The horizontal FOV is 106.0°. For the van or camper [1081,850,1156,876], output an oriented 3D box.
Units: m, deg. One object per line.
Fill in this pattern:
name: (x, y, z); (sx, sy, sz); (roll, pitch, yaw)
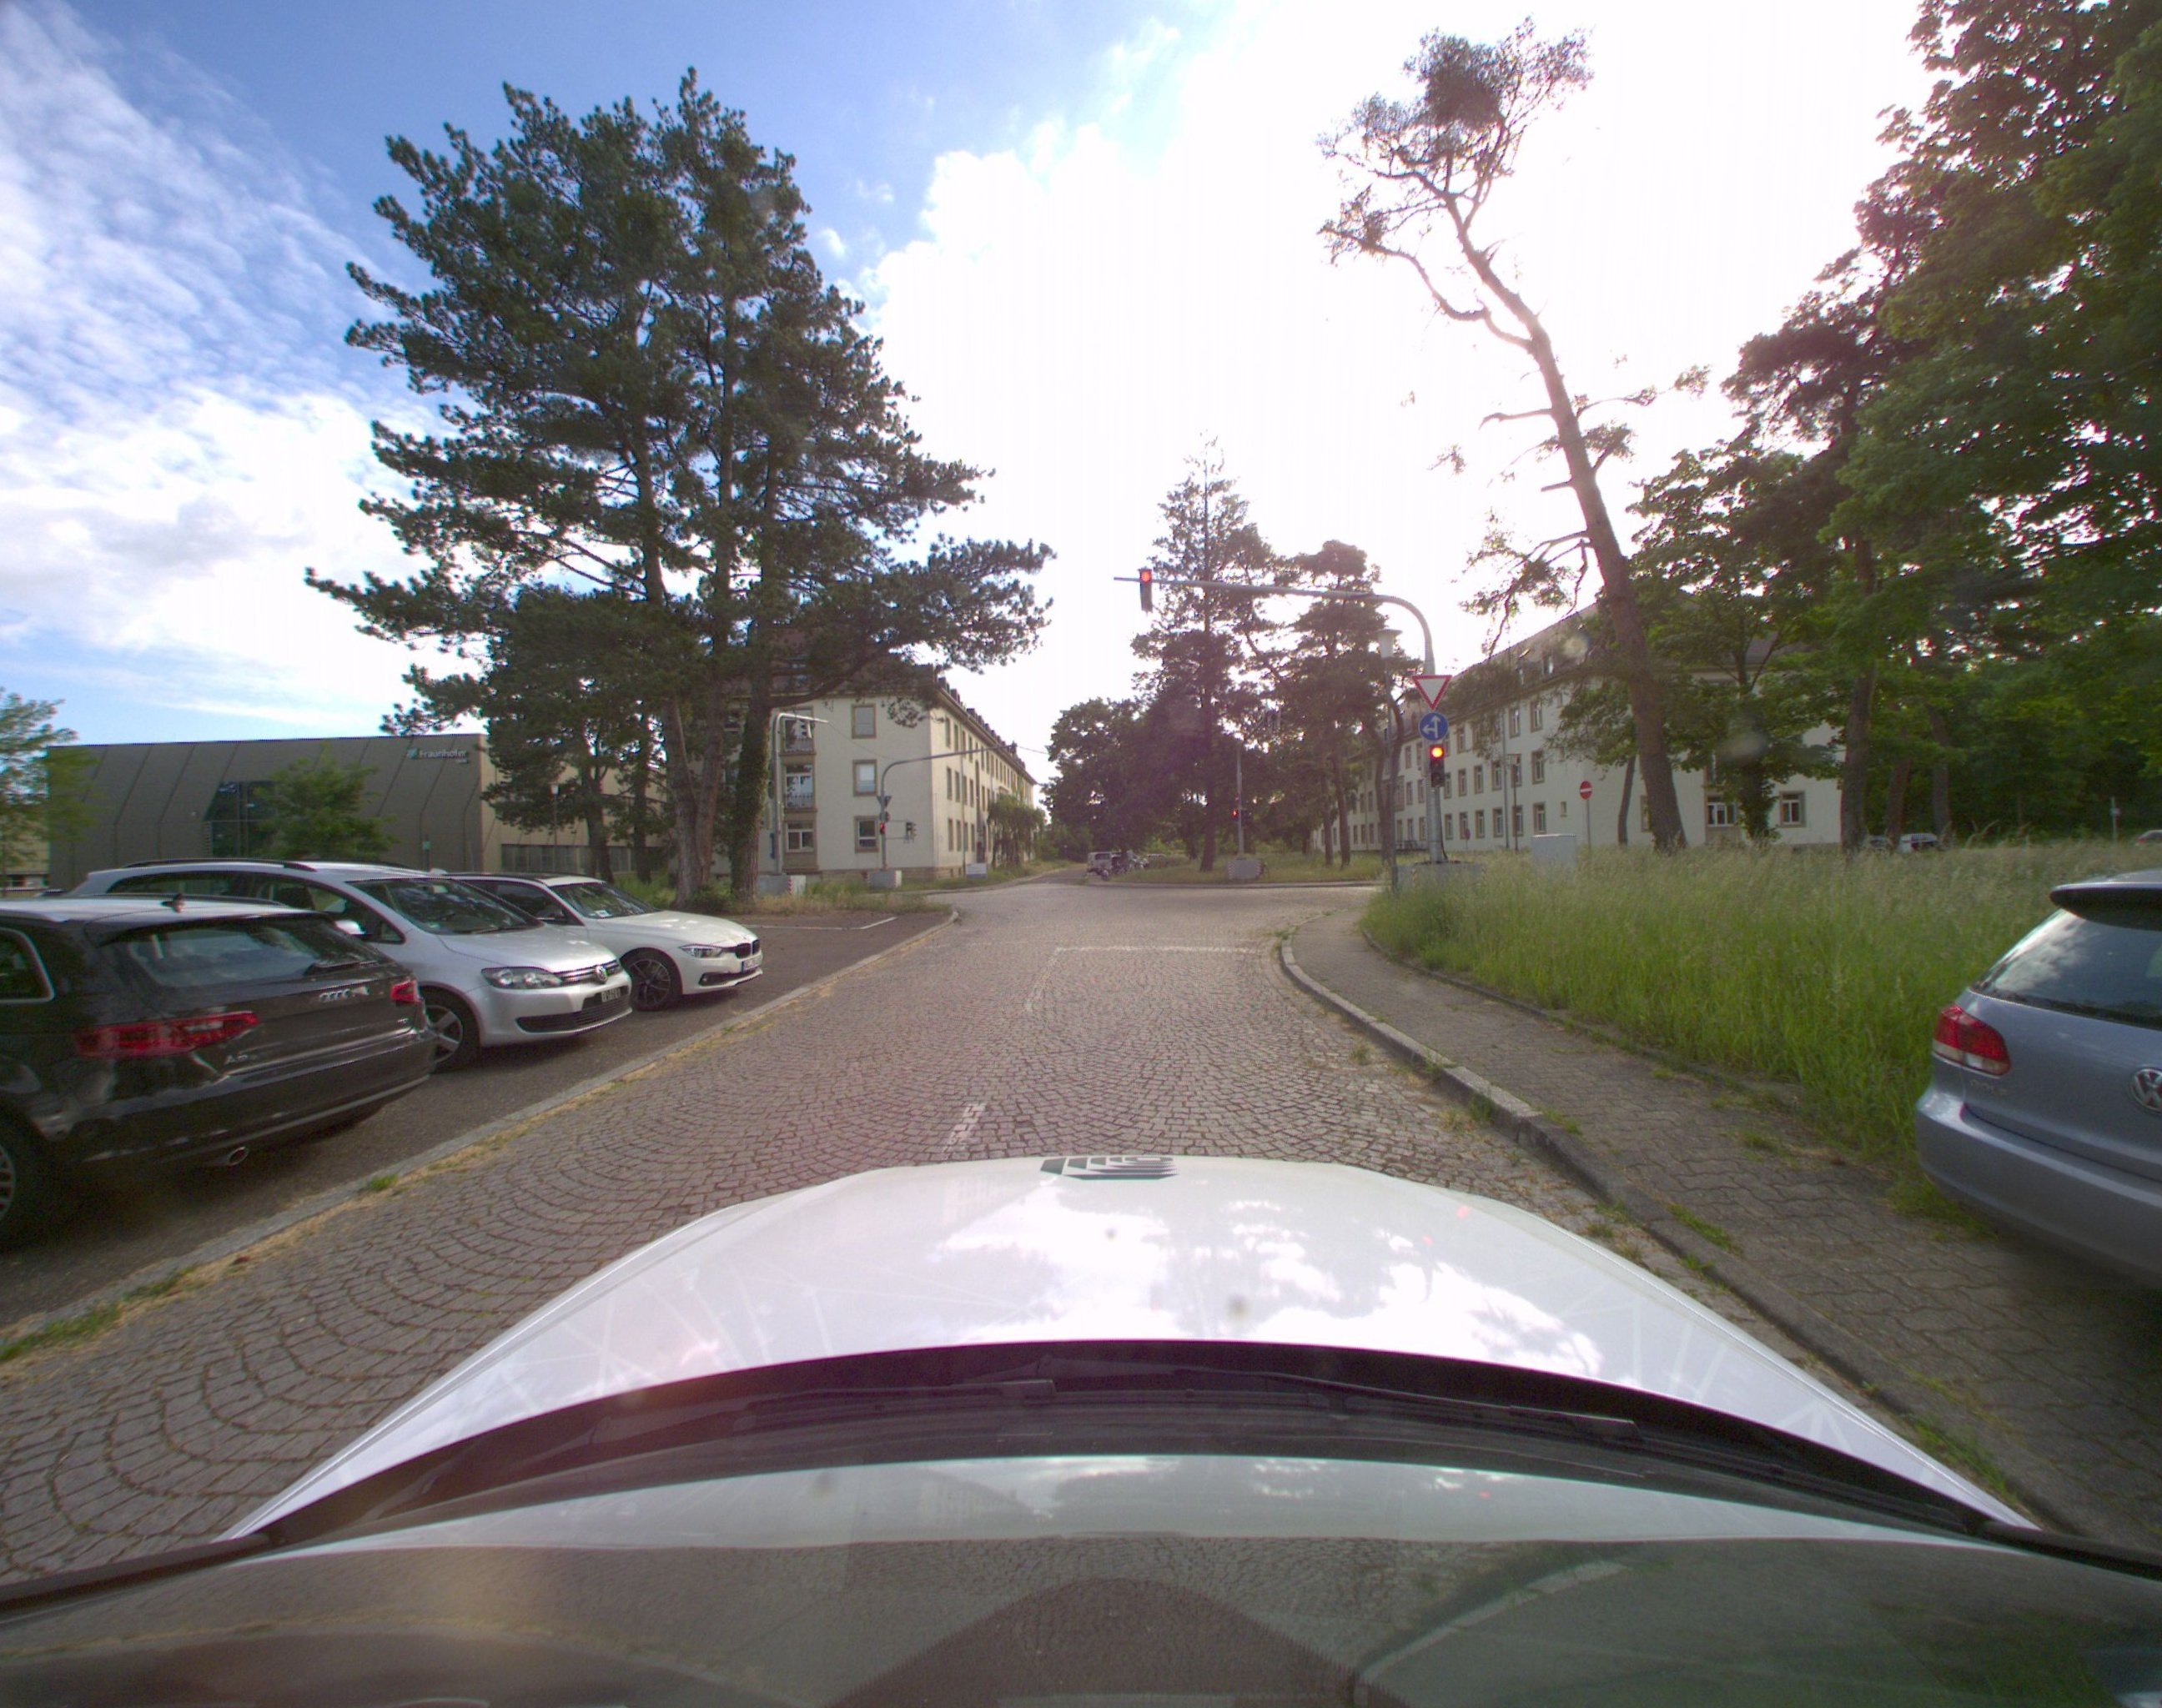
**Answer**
van or camper: (3.170, 0.734, 69.262); (6.036, 1.949, 1.992); (-2, 0, -12)

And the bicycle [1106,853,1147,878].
bicycle: (3.141, 0.788, 56.041); (2.762, 1.694, 1.122); (0, -1, 5)

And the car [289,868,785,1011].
car: (-6.036, 0.926, 9.490); (4.466, 1.442, 1.829); (1, 0, -2)

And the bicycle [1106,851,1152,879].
bicycle: (3.062, 0.679, 52.476); (2.772, 1.694, 1.118); (-2, 0, -6)

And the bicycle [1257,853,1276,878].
bicycle: (8.932, 0.535, 39.321); (0.720, 1.169, 2.743); (0, 0, 8)

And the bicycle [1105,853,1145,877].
bicycle: (3.106, 0.780, 57.381); (2.764, 1.694, 1.121); (1, -1, 3)

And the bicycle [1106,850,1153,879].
bicycle: (3.043, 0.648, 51.281); (2.770, 1.694, 1.119); (-2, 0, -4)

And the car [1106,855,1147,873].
car: (3.668, 0.824, 65.669); (3.131, 1.354, 1.618); (-2, 0, -4)

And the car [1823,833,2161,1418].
car: (4.654, 0.629, 2.134); (3.827, 1.471, 1.643); (-2, 0, 2)

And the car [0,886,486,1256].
car: (-5.629, 0.916, 4.205); (3.822, 1.408, 1.696); (1, 0, 1)

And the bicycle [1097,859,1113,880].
bicycle: (1.396, 0.894, 47.039); (0.722, 1.107, 2.464); (-6, -1, 3)

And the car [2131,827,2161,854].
car: (58.810, -0.705, 43.246); (3.972, 1.398, 1.564); (1, 0, 2)

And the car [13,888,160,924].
car: (-47.216, 2.422, 38.803); (1.750, 1.414, 4.137); (-2, 0, 5)

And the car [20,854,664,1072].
car: (-5.940, 0.821, 6.951); (3.820, 1.607, 1.735); (1, 0, -1)
